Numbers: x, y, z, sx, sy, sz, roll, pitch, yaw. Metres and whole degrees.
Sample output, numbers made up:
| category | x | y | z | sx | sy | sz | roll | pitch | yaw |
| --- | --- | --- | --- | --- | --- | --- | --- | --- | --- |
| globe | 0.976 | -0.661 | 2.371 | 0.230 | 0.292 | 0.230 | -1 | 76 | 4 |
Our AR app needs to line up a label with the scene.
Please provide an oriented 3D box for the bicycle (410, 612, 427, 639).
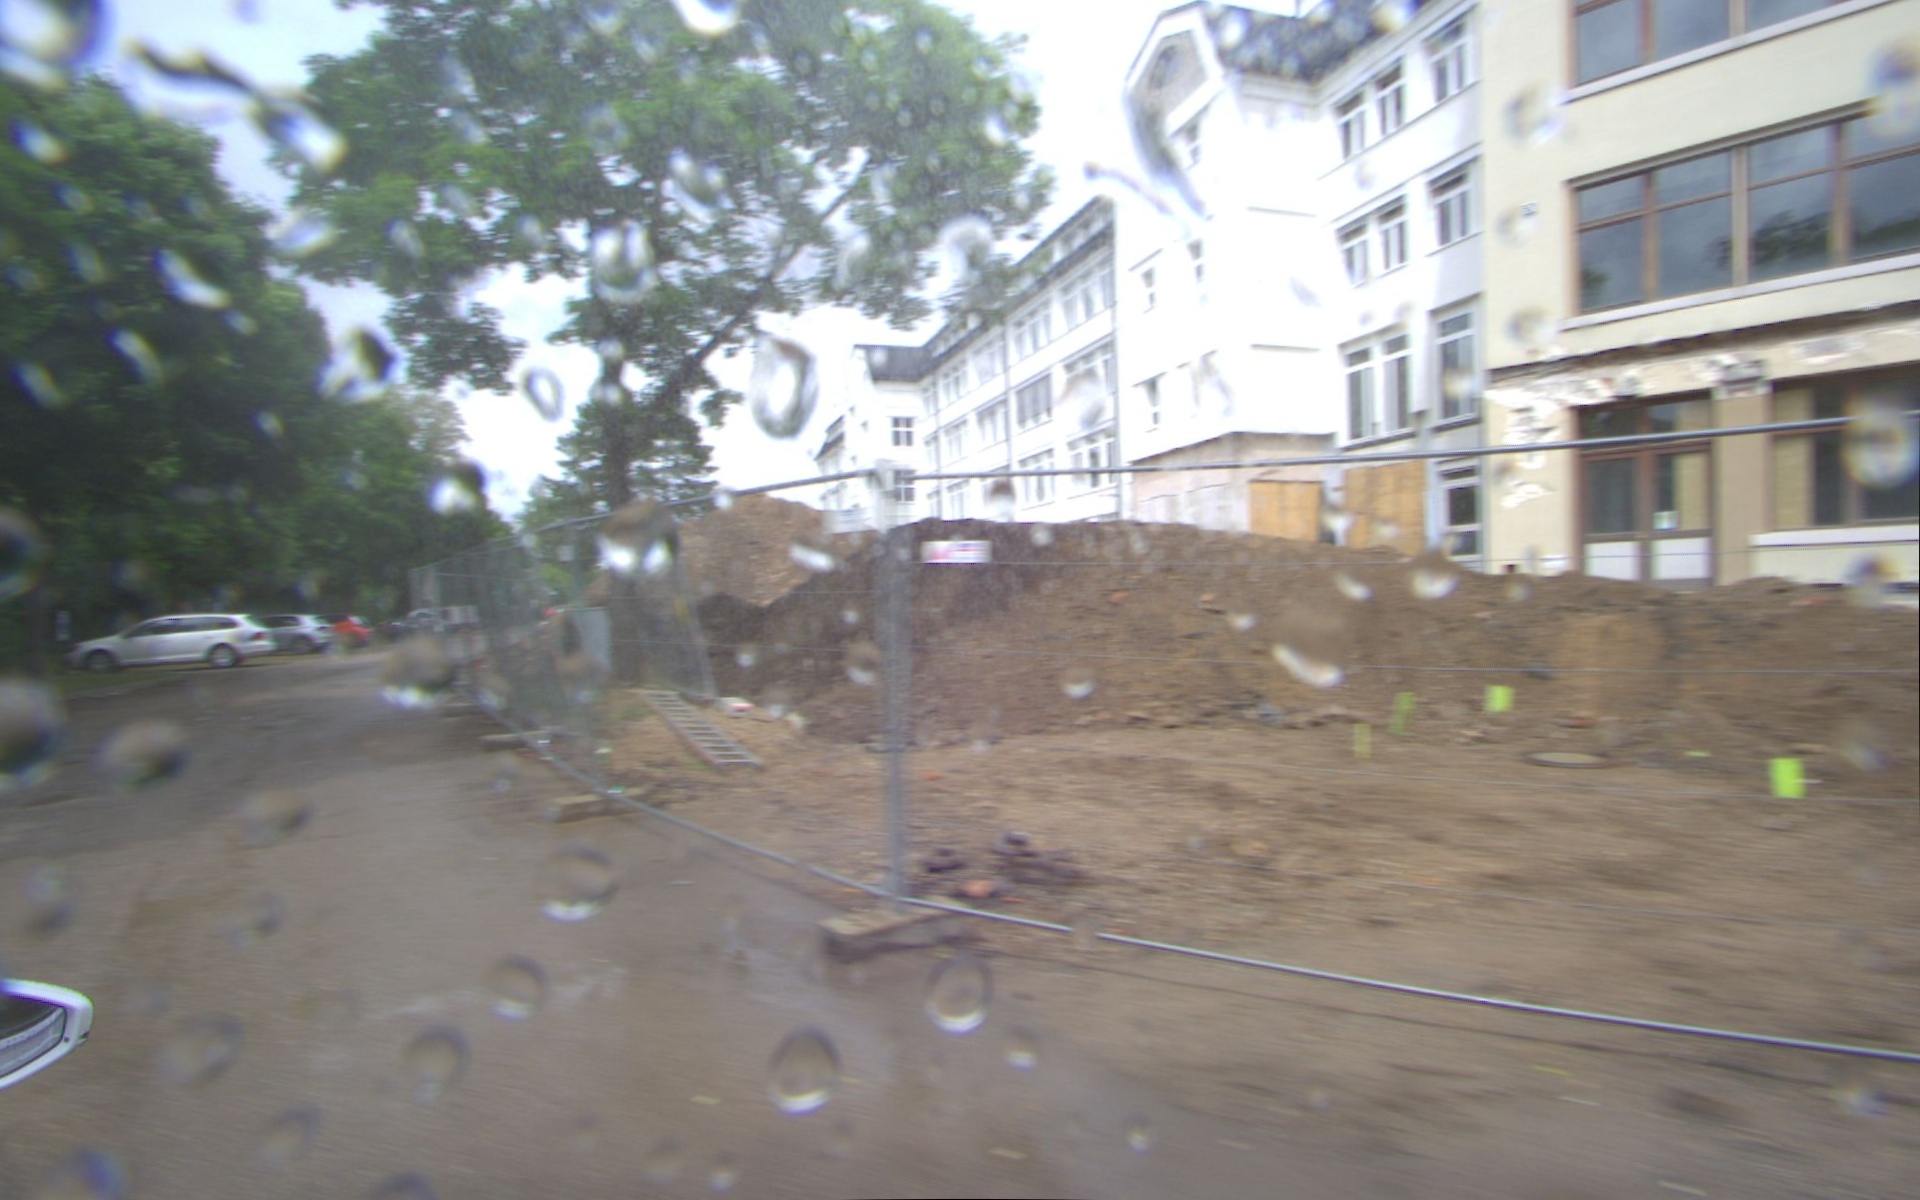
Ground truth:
| category | x | y | z | sx | sy | sz | roll | pitch | yaw |
| --- | --- | --- | --- | --- | --- | --- | --- | --- | --- |
| bicycle | -27.423 | 1.323 | 50.702 | 0.589 | 1.325 | 2.655 | -1 | -1 | -31 |

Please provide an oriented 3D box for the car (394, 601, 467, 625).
| category | x | y | z | sx | sy | sz | roll | pitch | yaw |
| --- | --- | --- | --- | --- | --- | --- | --- | --- | --- |
| car | -34.997 | 0.867 | 66.287 | 3.978 | 1.427 | 1.977 | -1 | -1 | -20 |

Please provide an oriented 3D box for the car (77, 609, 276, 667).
| category | x | y | z | sx | sy | sz | roll | pitch | yaw |
| --- | --- | --- | --- | --- | --- | --- | --- | --- | --- |
| car | -21.219 | 1.007 | 27.356 | 3.989 | 1.427 | 1.972 | -1 | -1 | -30 |

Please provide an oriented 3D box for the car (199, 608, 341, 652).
| category | x | y | z | sx | sy | sz | roll | pitch | yaw |
| --- | --- | --- | --- | --- | --- | --- | --- | --- | --- |
| car | -24.507 | 1.070 | 35.775 | 3.989 | 1.427 | 1.972 | -1 | -1 | -30 |

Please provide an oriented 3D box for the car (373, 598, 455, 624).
| category | x | y | z | sx | sy | sz | roll | pitch | yaw |
| --- | --- | --- | --- | --- | --- | --- | --- | --- | --- |
| car | -32.493 | 0.648 | 59.722 | 3.978 | 1.427 | 1.977 | -1 | -1 | -20 |

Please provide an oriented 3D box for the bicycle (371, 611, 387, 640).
| category | x | y | z | sx | sy | sz | roll | pitch | yaw |
| --- | --- | --- | --- | --- | --- | --- | --- | --- | --- |
| bicycle | -26.812 | 1.191 | 46.185 | 0.589 | 1.325 | 2.655 | -1 | -1 | -31 |

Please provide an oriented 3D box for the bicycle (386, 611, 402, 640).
| category | x | y | z | sx | sy | sz | roll | pitch | yaw |
| --- | --- | --- | --- | --- | --- | --- | --- | --- | --- |
| bicycle | -26.300 | 1.205 | 46.511 | 0.589 | 1.283 | 2.655 | -1 | -1 | -31 |

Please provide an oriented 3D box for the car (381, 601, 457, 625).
| category | x | y | z | sx | sy | sz | roll | pitch | yaw |
| --- | --- | --- | --- | --- | --- | --- | --- | --- | --- |
| car | -34.347 | 0.812 | 63.649 | 3.978 | 1.427 | 1.977 | -1 | -1 | -20 |

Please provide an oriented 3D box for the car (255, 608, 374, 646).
| category | x | y | z | sx | sy | sz | roll | pitch | yaw |
| --- | --- | --- | --- | --- | --- | --- | --- | --- | --- |
| car | -26.470 | 1.099 | 41.261 | 3.989 | 1.427 | 1.972 | -1 | -1 | -30 |

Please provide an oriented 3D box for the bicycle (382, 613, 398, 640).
| category | x | y | z | sx | sy | sz | roll | pitch | yaw |
| --- | --- | --- | --- | --- | --- | --- | --- | --- | --- |
| bicycle | -28.496 | 1.334 | 50.065 | 0.589 | 1.325 | 2.655 | -1 | -1 | -31 |

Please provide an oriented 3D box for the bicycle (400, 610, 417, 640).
| category | x | y | z | sx | sy | sz | roll | pitch | yaw |
| --- | --- | --- | --- | --- | --- | --- | --- | --- | --- |
| bicycle | -25.800 | 1.182 | 46.844 | 0.589 | 1.325 | 2.655 | -1 | -1 | -31 |
